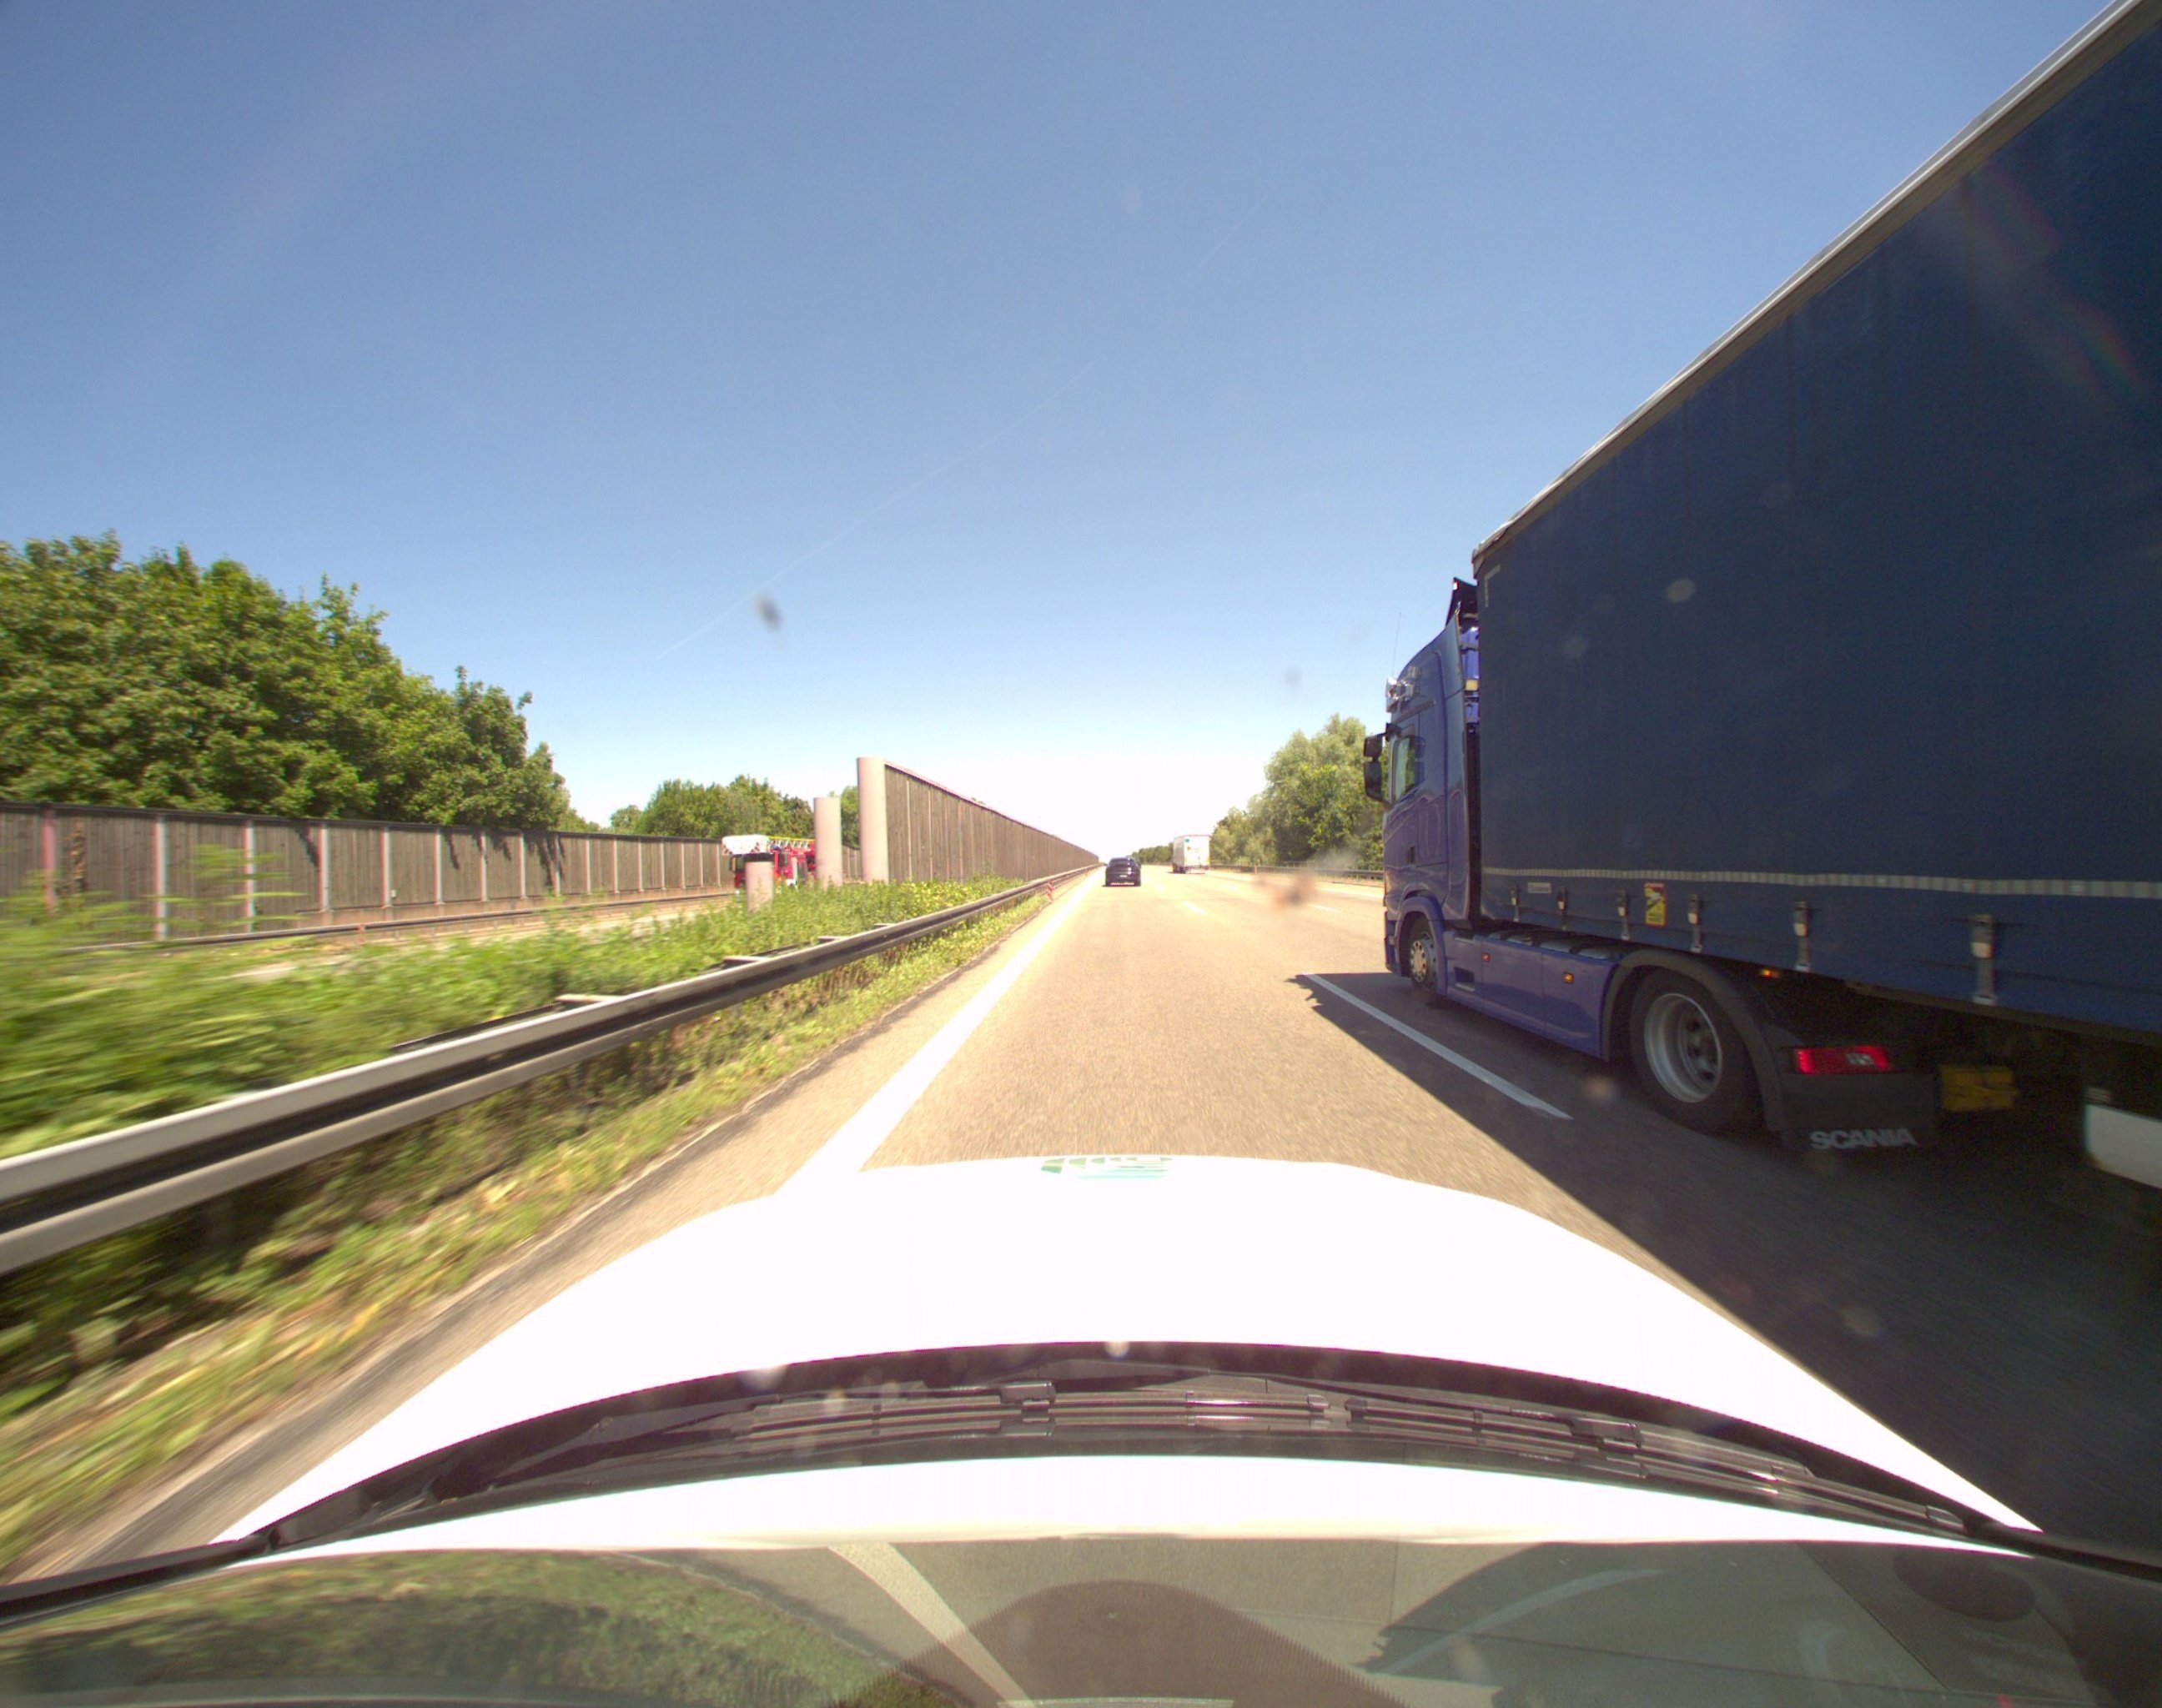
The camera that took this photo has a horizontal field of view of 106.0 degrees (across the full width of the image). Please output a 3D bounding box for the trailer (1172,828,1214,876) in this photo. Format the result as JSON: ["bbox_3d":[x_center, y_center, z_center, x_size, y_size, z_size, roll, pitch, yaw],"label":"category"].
[{"bbox_3d":[12.056,-0.147,89.205,3.256,4.838,14.037,-1,-1,3],"label":"trailer"}]

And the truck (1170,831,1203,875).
[{"bbox_3d":[12.378,-0.092,95.776,3.221,4.889,6.975,-1,-1,2],"label":"truck"}]

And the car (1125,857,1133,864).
[{"bbox_3d":[11.979,1.568,202.127,1.895,1.584,4.306,-2,-2,2],"label":"car"}]

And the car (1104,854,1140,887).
[{"bbox_3d":[2.315,0.914,46.623,1.874,1.792,4.000,-1,0,1],"label":"car"}]

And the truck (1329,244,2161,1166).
[{"bbox_3d":[4.537,-0.656,7.140,2.690,4.118,6.992,-1,-1,1],"label":"truck"}]

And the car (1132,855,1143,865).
[{"bbox_3d":[10.473,1.115,150.278,1.895,1.584,4.306,-2,-2,2],"label":"car"}]

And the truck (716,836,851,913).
[{"bbox_3d":[-15.209,0.978,42.828,2.689,3.492,10.860,-1,-1,2],"label":"truck"}]
